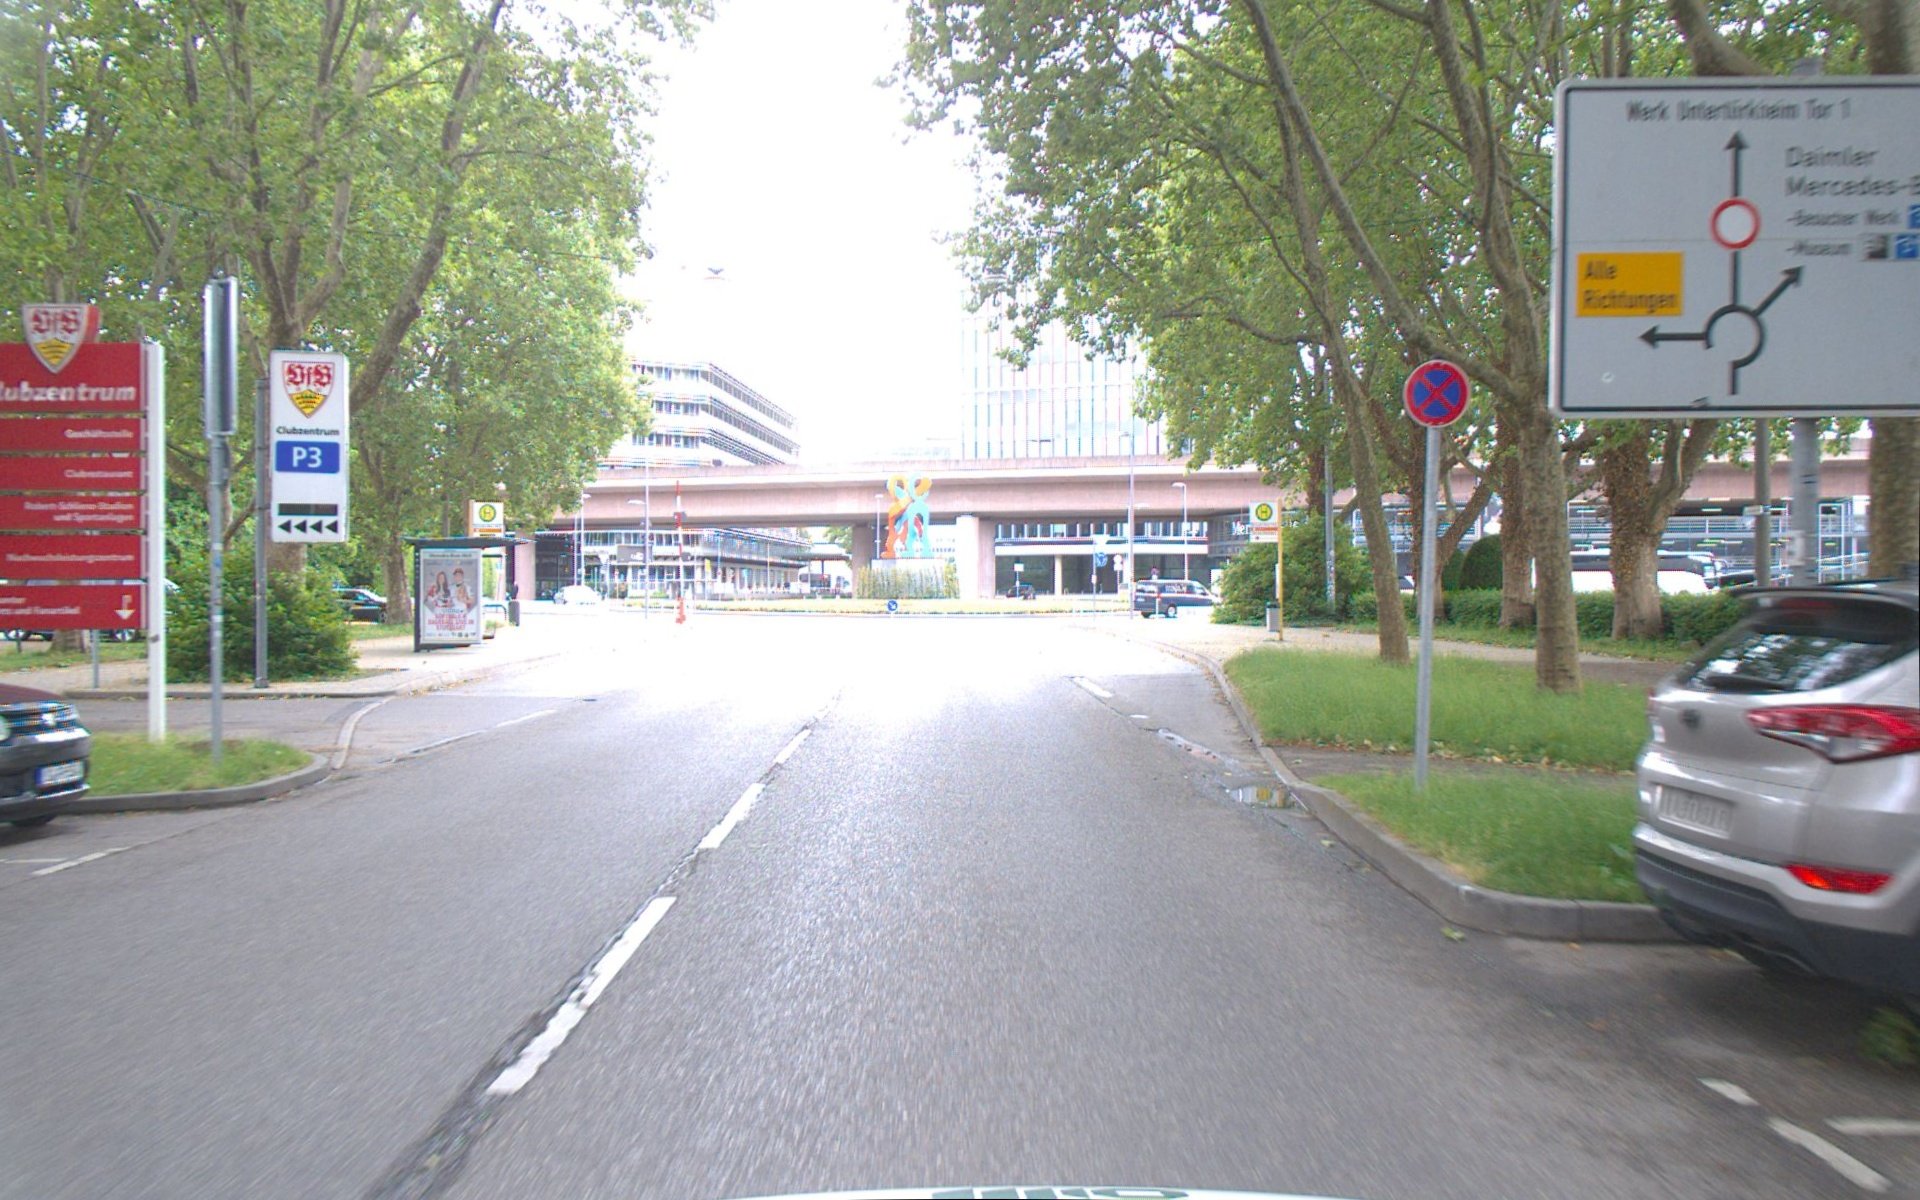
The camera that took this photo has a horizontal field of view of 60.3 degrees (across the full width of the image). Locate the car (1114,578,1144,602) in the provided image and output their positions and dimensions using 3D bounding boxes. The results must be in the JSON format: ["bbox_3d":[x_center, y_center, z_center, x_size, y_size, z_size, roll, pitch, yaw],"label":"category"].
[{"bbox_3d":[14.758,-0.829,144.343,1.951,2.049,4.002,0,0,16],"label":"car"}]

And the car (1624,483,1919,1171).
[{"bbox_3d":[4.754,0.699,5.942,3.905,2.049,2.000,1,1,-1],"label":"car"}]

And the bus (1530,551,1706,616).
[{"bbox_3d":[41.719,-0.999,104.923,10.860,4.003,2.748,0,0,-14],"label":"bus"}]

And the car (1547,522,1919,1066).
[{"bbox_3d":[4.631,0.620,6.062,4.257,1.662,1.925,1,1,-1],"label":"car"}]

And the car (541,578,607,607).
[{"bbox_3d":[-20.774,-0.400,88.848,1.884,1.478,4.758,-2,1,-34],"label":"car"}]

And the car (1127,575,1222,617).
[{"bbox_3d":[10.927,-0.198,84.110,4.741,2.049,2.249,1,0,-42],"label":"car"}]

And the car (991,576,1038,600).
[{"bbox_3d":[4.386,-0.950,132.356,1.959,1.803,3.986,0,0,35],"label":"car"}]

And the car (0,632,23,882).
[{"bbox_3d":[-7.415,0.872,8.666,3.910,1.409,1.912,0,0,2],"label":"car"}]

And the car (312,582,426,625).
[{"bbox_3d":[-23.413,0.137,65.653,3.914,1.633,2.227,-1,0,-10],"label":"car"}]

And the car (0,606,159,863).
[{"bbox_3d":[-7.774,0.816,11.072,3.911,1.567,1.805,0,0,0],"label":"car"}]

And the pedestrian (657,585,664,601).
[{"bbox_3d":[-37.823,-0.911,208.736,0.760,2.049,0.671,0,0,0],"label":"pedestrian"}]

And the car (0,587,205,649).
[{"bbox_3d":[-23.097,0.482,44.528,4.530,1.595,2.109,0,-1,1],"label":"car"}]

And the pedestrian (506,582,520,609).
[{"bbox_3d":[-35.031,-0.346,129.552,1.024,2.049,0.597,0,0,-12],"label":"pedestrian"}]

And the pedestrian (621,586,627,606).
[{"bbox_3d":[-33.871,-0.410,166.808,0.578,2.049,0.597,0,0,-12],"label":"pedestrian"}]
